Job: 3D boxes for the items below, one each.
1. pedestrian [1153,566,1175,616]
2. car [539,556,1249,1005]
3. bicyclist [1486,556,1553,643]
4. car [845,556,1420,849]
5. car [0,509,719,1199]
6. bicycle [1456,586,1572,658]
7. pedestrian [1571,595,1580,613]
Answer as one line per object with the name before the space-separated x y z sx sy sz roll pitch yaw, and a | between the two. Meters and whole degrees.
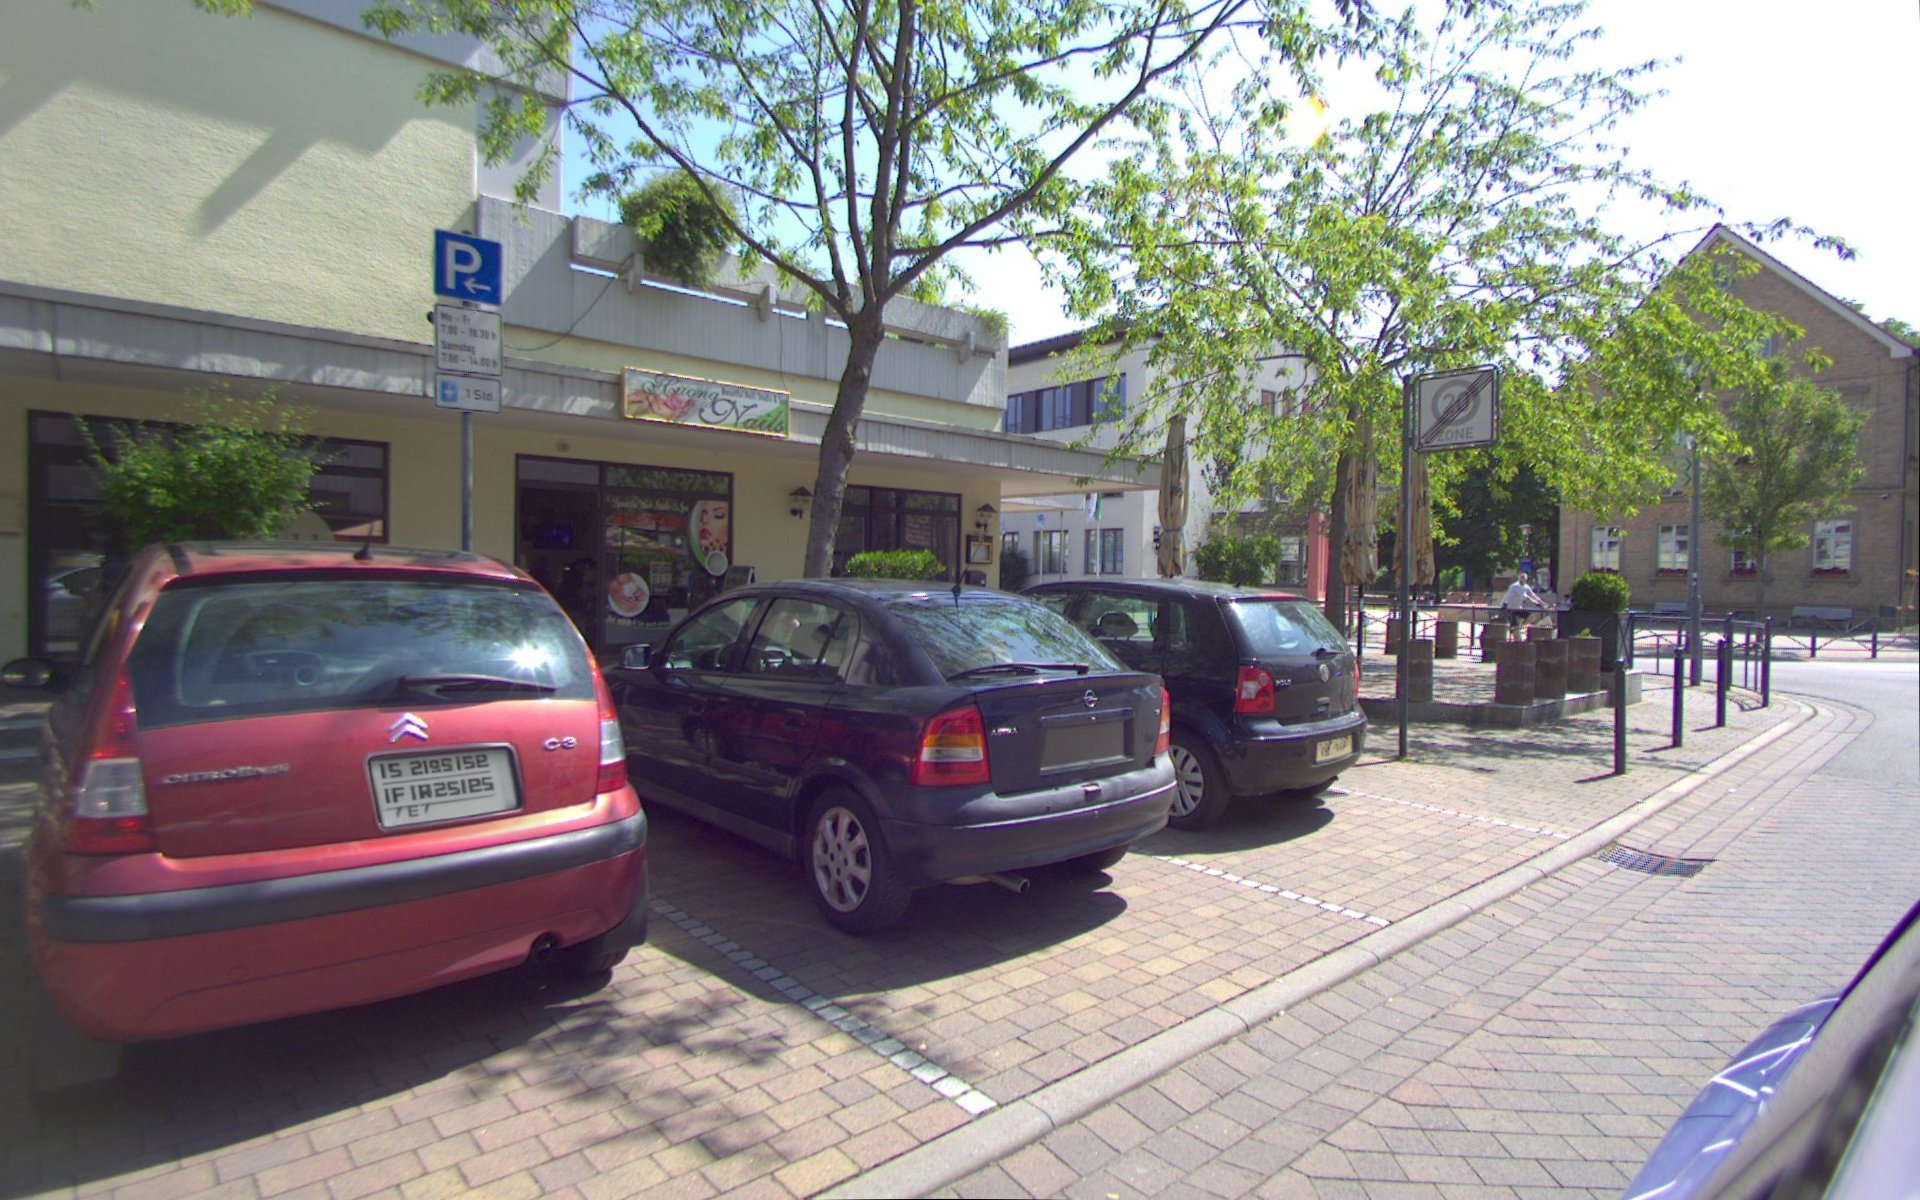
pedestrian | 6.829 -0.292 33.848 0.539 1.638 0.558 2 2 -3
car | -0.704 0.569 5.618 1.753 1.449 4.105 1 3 -42
bicyclist | 10.667 -0.023 19.295 0.691 1.601 0.877 0 3 -40
car | 1.029 0.486 7.515 1.742 1.528 3.965 0 3 -43
car | -2.685 0.473 4.153 1.735 1.553 3.731 0 3 -41
bicycle | 10.577 0.385 19.366 0.678 1.203 1.797 -4 5 -41
pedestrian | 25.765 0.177 42.362 0.287 0.741 0.353 2 1 35
